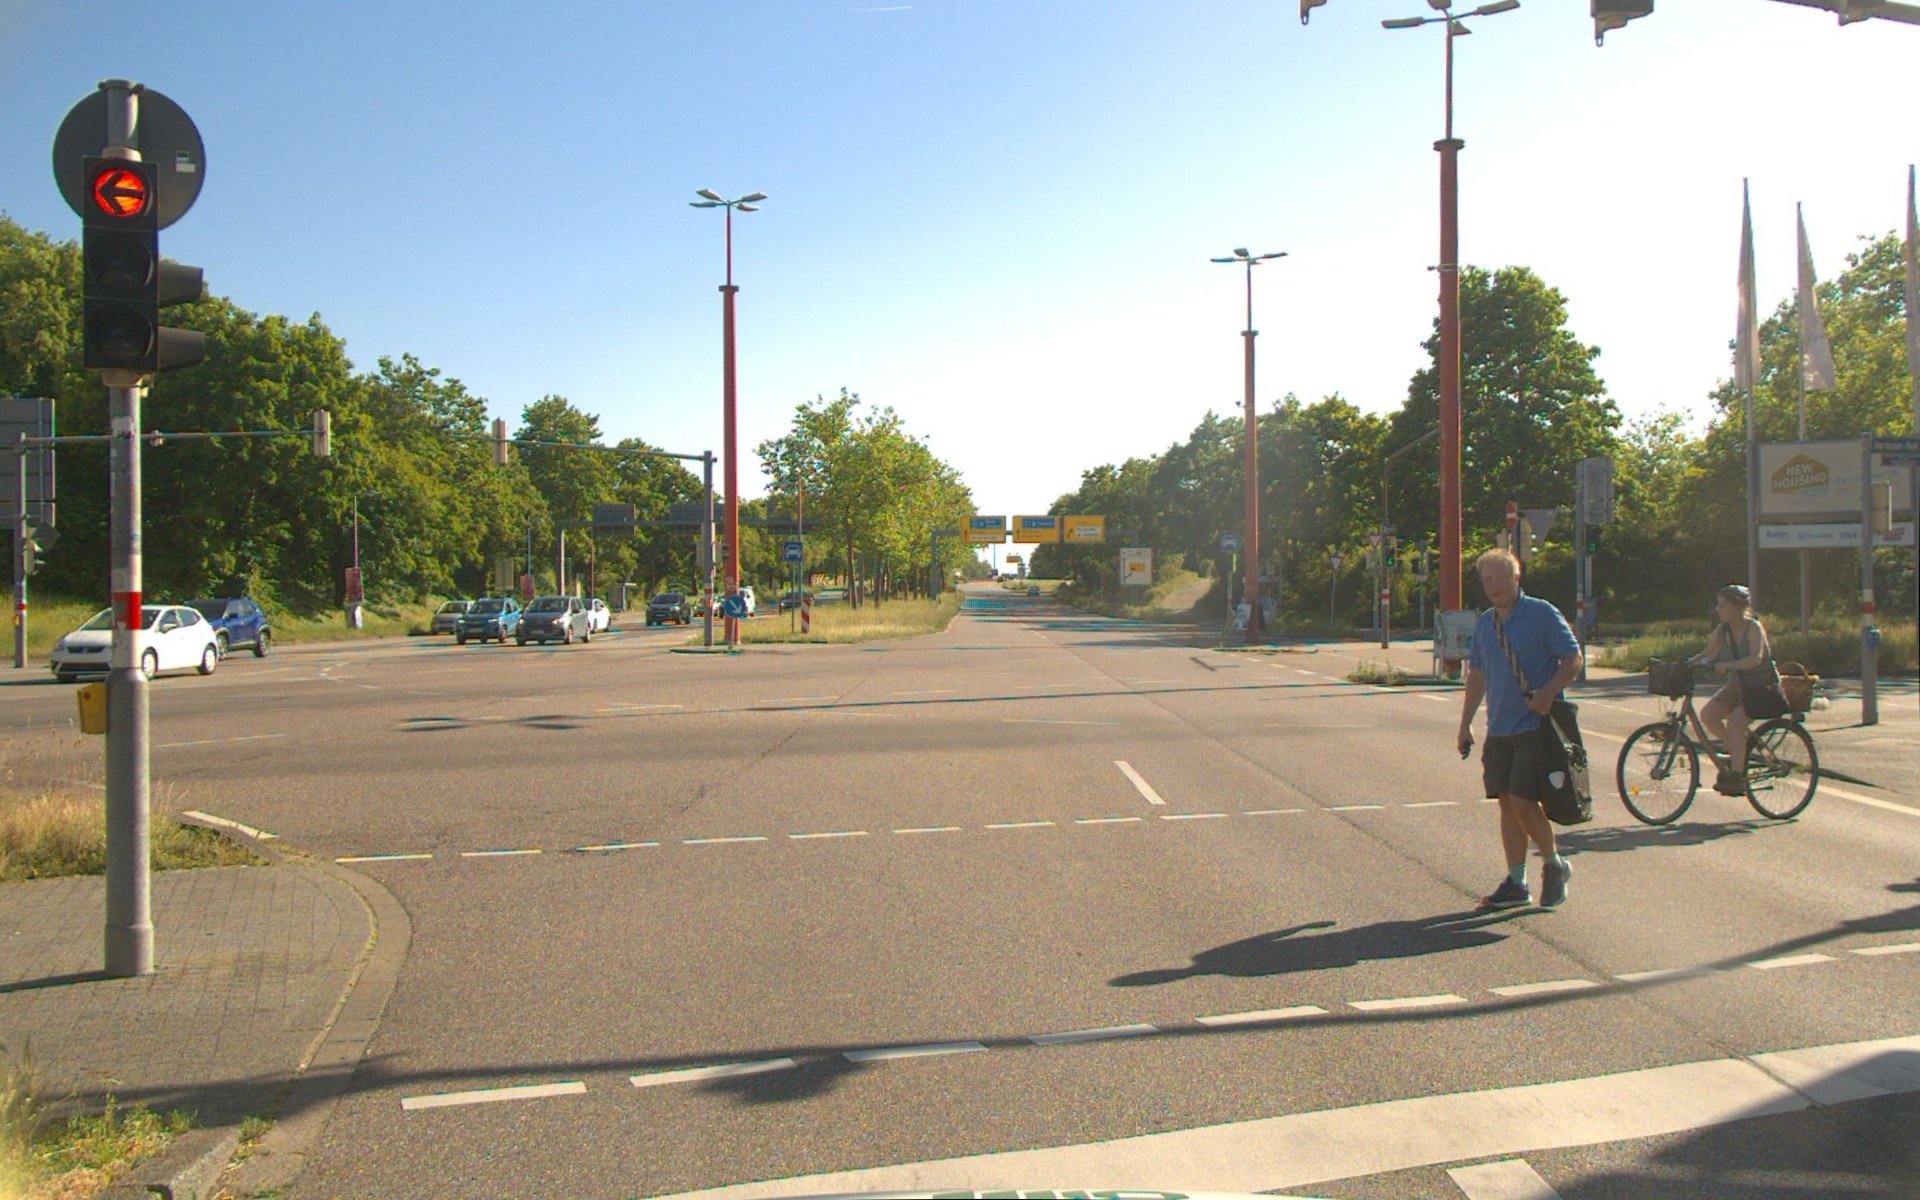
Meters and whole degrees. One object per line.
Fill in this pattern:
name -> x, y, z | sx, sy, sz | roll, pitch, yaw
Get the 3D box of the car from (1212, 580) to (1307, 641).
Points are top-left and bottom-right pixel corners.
car -> 9.771, 0.317, 53.770 | 1.955, 1.920, 3.995 | 0, 0, 27

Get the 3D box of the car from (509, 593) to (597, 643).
car -> -12.697, 0.556, 51.849 | 1.666, 1.446, 4.000 | 3, 0, 1

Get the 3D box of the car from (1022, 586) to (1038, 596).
car -> 9.793, -1.303, 231.687 | 2.012, 1.395, 4.391 | 0, 0, -1

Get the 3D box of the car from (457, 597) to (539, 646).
car -> -15.741, 0.717, 56.532 | 1.668, 1.586, 3.804 | 1, 0, 1

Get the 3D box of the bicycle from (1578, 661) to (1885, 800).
bicycle -> 5.533, 0.912, 11.858 | 2.125, 0.894, 0.558 | 0, 0, -14

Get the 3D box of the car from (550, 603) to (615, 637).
car -> -15.909, 0.824, 69.867 | 1.963, 1.330, 3.998 | 0, 0, -2

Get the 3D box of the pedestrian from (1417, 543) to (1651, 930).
pedestrian -> 2.918, 0.633, 8.398 | 0.883, 1.820, 0.890 | 1, 0, 38

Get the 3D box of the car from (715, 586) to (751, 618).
car -> -15.116, 0.135, 110.372 | 1.963, 2.049, 3.998 | 1, 0, -2

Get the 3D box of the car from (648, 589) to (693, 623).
car -> -15.409, 0.285, 88.104 | 1.592, 1.769, 4.001 | 0, 0, 1

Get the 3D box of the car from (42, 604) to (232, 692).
car -> -16.247, 0.914, 32.895 | 1.668, 1.624, 4.001 | 1, 0, 2

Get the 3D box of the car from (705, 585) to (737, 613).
car -> -17.860, -0.052, 123.816 | 1.963, 2.049, 3.998 | 1, 0, -2

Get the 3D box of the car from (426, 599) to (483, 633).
car -> -23.140, 0.730, 75.825 | 1.499, 1.475, 3.704 | 1, 0, 0

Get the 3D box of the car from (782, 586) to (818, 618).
car -> -9.395, 0.121, 97.419 | 1.622, 1.778, 4.001 | 1, 0, 2

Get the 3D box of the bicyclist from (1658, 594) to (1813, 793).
bicyclist -> 5.523, 0.644, 11.811 | 0.726, 1.365, 0.706 | 0, 0, -11

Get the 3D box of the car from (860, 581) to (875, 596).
car -> -12.449, -1.546, 222.203 | 1.963, 1.891, 3.998 | 1, 0, -2
